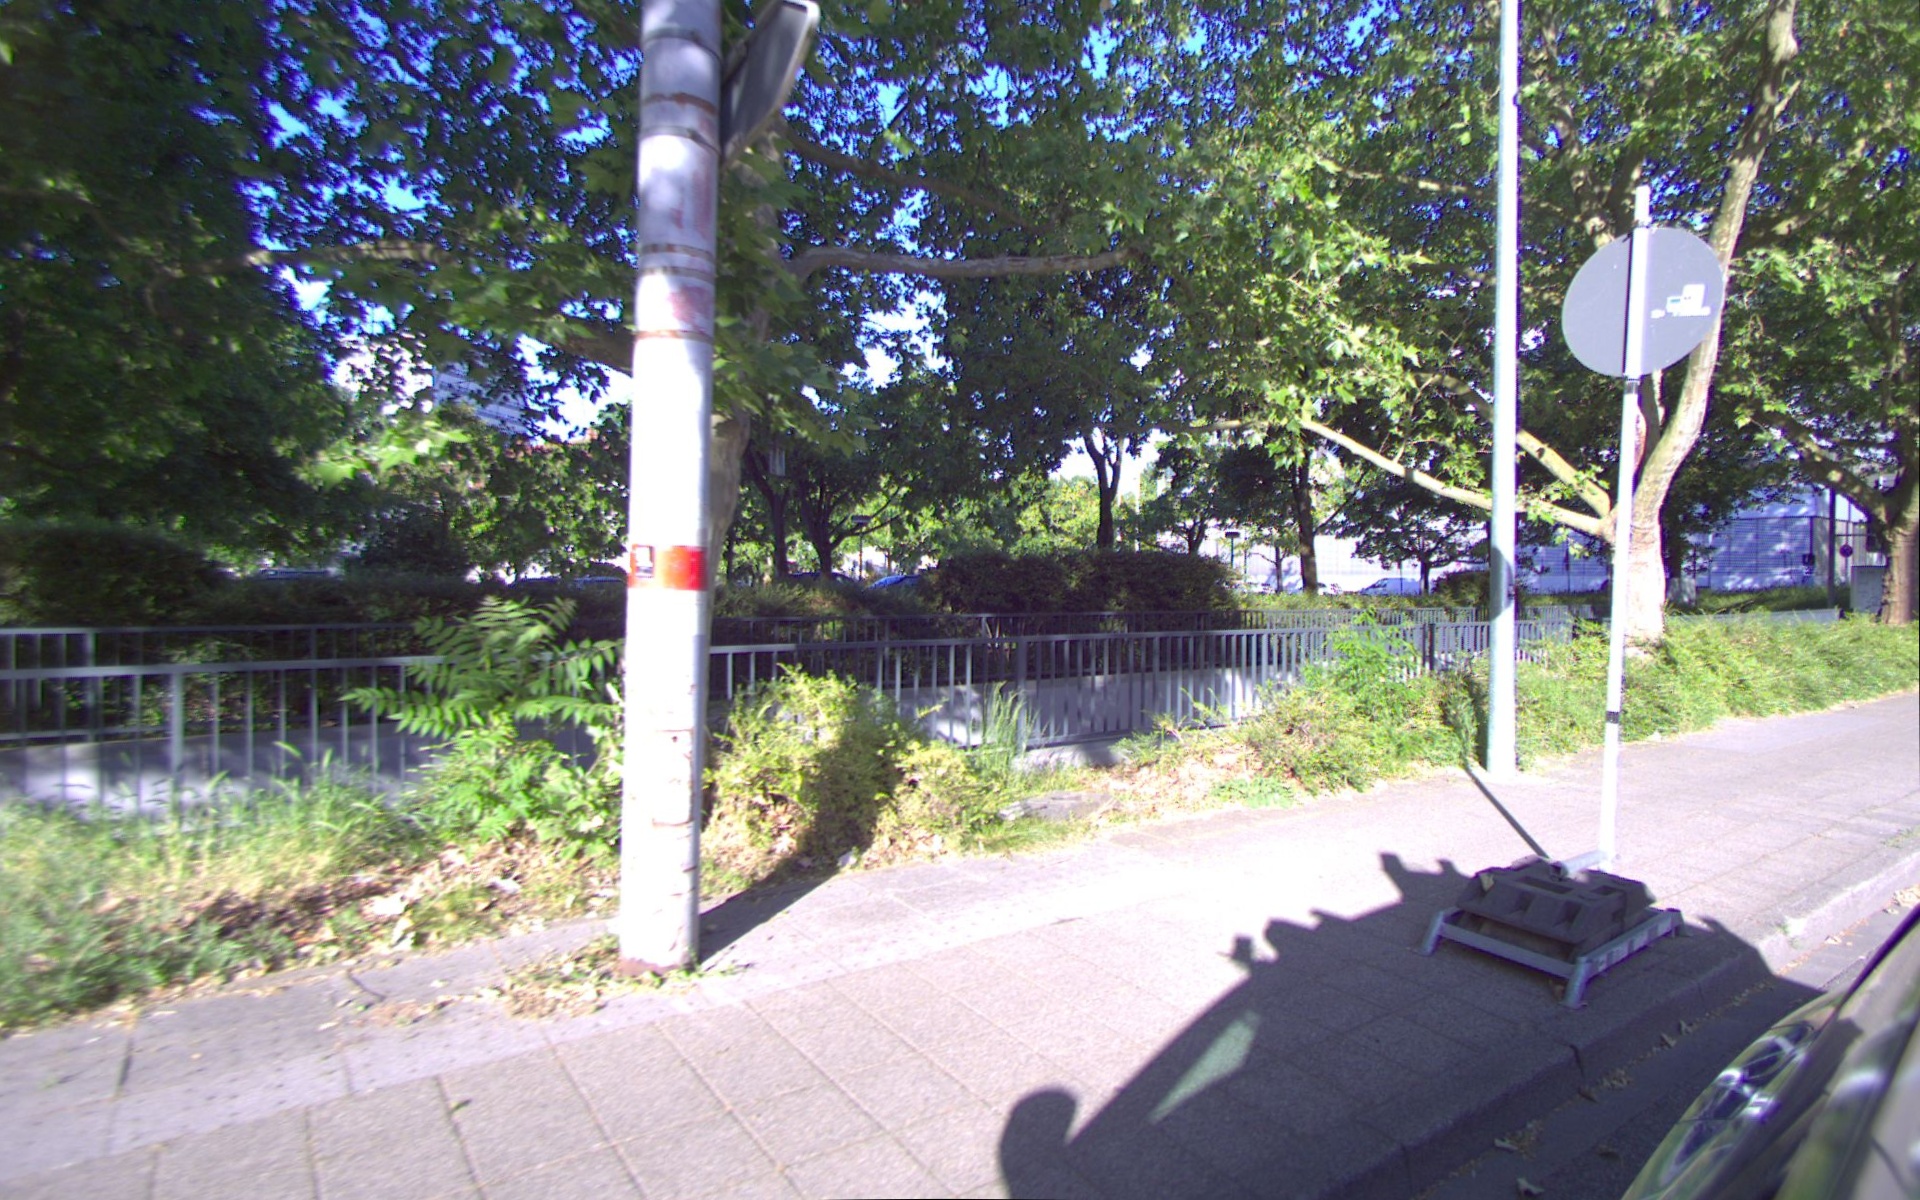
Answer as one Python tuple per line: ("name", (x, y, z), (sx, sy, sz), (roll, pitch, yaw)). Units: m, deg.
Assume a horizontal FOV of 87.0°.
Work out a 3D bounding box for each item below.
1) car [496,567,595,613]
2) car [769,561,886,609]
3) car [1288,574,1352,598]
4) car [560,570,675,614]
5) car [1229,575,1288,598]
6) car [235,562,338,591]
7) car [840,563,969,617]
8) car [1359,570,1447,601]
("car", (-19.561, -0.502, 47.861), (3.930, 2.038, 1.997), (-1, 2, -41))
("car", (-4.726, -0.524, 36.333), (3.924, 1.647, 1.553), (0, 0, -35))
("car", (24.413, -0.958, 68.722), (1.600, 1.503, 3.849), (0, 2, -37))
("car", (-13.434, -0.284, 39.721), (3.924, 1.647, 1.924), (0, 0, -35))
("car", (21.269, -0.981, 72.274), (1.600, 1.503, 3.849), (0, 2, -37))
("car", (-36.575, -1.230, 55.005), (4.569, 1.493, 2.014), (0, 0, -35))
("car", (-1.765, -0.339, 32.744), (3.929, 1.646, 1.762), (-1, 2, -40))
("car", (27.935, -0.956, 63.954), (2.070, 1.851, 4.718), (0, 2, -37))
